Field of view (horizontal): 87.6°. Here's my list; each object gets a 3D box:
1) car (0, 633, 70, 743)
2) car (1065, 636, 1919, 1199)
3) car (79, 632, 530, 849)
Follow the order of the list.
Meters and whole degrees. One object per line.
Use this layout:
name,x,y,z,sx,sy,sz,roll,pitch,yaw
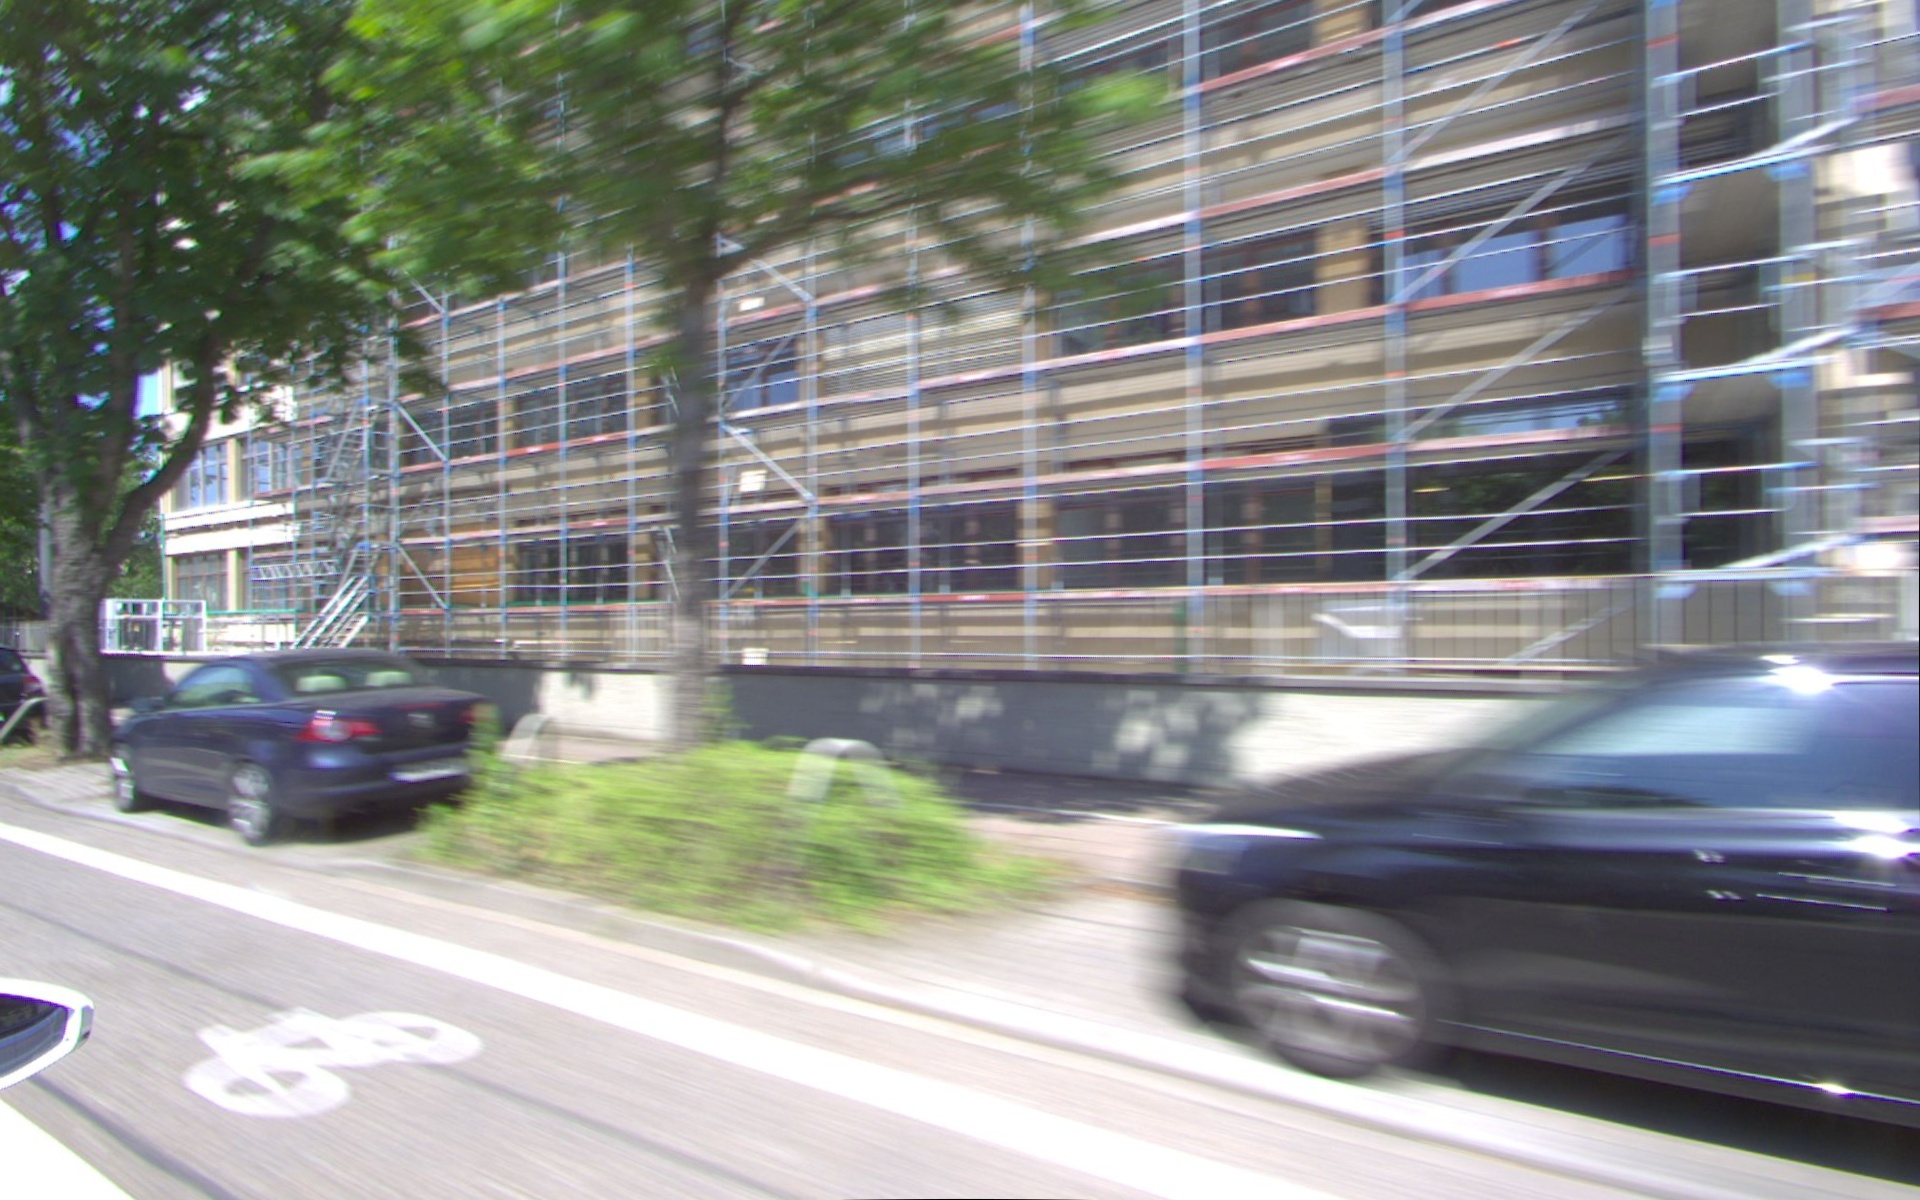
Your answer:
car,-15.056,1.247,14.852,4.341,1.490,1.820,-1,-1,35
car,2.524,0.872,3.513,3.983,1.456,1.669,-1,-1,31
car,-5.996,1.049,9.001,4.424,1.490,1.820,-1,-1,34
